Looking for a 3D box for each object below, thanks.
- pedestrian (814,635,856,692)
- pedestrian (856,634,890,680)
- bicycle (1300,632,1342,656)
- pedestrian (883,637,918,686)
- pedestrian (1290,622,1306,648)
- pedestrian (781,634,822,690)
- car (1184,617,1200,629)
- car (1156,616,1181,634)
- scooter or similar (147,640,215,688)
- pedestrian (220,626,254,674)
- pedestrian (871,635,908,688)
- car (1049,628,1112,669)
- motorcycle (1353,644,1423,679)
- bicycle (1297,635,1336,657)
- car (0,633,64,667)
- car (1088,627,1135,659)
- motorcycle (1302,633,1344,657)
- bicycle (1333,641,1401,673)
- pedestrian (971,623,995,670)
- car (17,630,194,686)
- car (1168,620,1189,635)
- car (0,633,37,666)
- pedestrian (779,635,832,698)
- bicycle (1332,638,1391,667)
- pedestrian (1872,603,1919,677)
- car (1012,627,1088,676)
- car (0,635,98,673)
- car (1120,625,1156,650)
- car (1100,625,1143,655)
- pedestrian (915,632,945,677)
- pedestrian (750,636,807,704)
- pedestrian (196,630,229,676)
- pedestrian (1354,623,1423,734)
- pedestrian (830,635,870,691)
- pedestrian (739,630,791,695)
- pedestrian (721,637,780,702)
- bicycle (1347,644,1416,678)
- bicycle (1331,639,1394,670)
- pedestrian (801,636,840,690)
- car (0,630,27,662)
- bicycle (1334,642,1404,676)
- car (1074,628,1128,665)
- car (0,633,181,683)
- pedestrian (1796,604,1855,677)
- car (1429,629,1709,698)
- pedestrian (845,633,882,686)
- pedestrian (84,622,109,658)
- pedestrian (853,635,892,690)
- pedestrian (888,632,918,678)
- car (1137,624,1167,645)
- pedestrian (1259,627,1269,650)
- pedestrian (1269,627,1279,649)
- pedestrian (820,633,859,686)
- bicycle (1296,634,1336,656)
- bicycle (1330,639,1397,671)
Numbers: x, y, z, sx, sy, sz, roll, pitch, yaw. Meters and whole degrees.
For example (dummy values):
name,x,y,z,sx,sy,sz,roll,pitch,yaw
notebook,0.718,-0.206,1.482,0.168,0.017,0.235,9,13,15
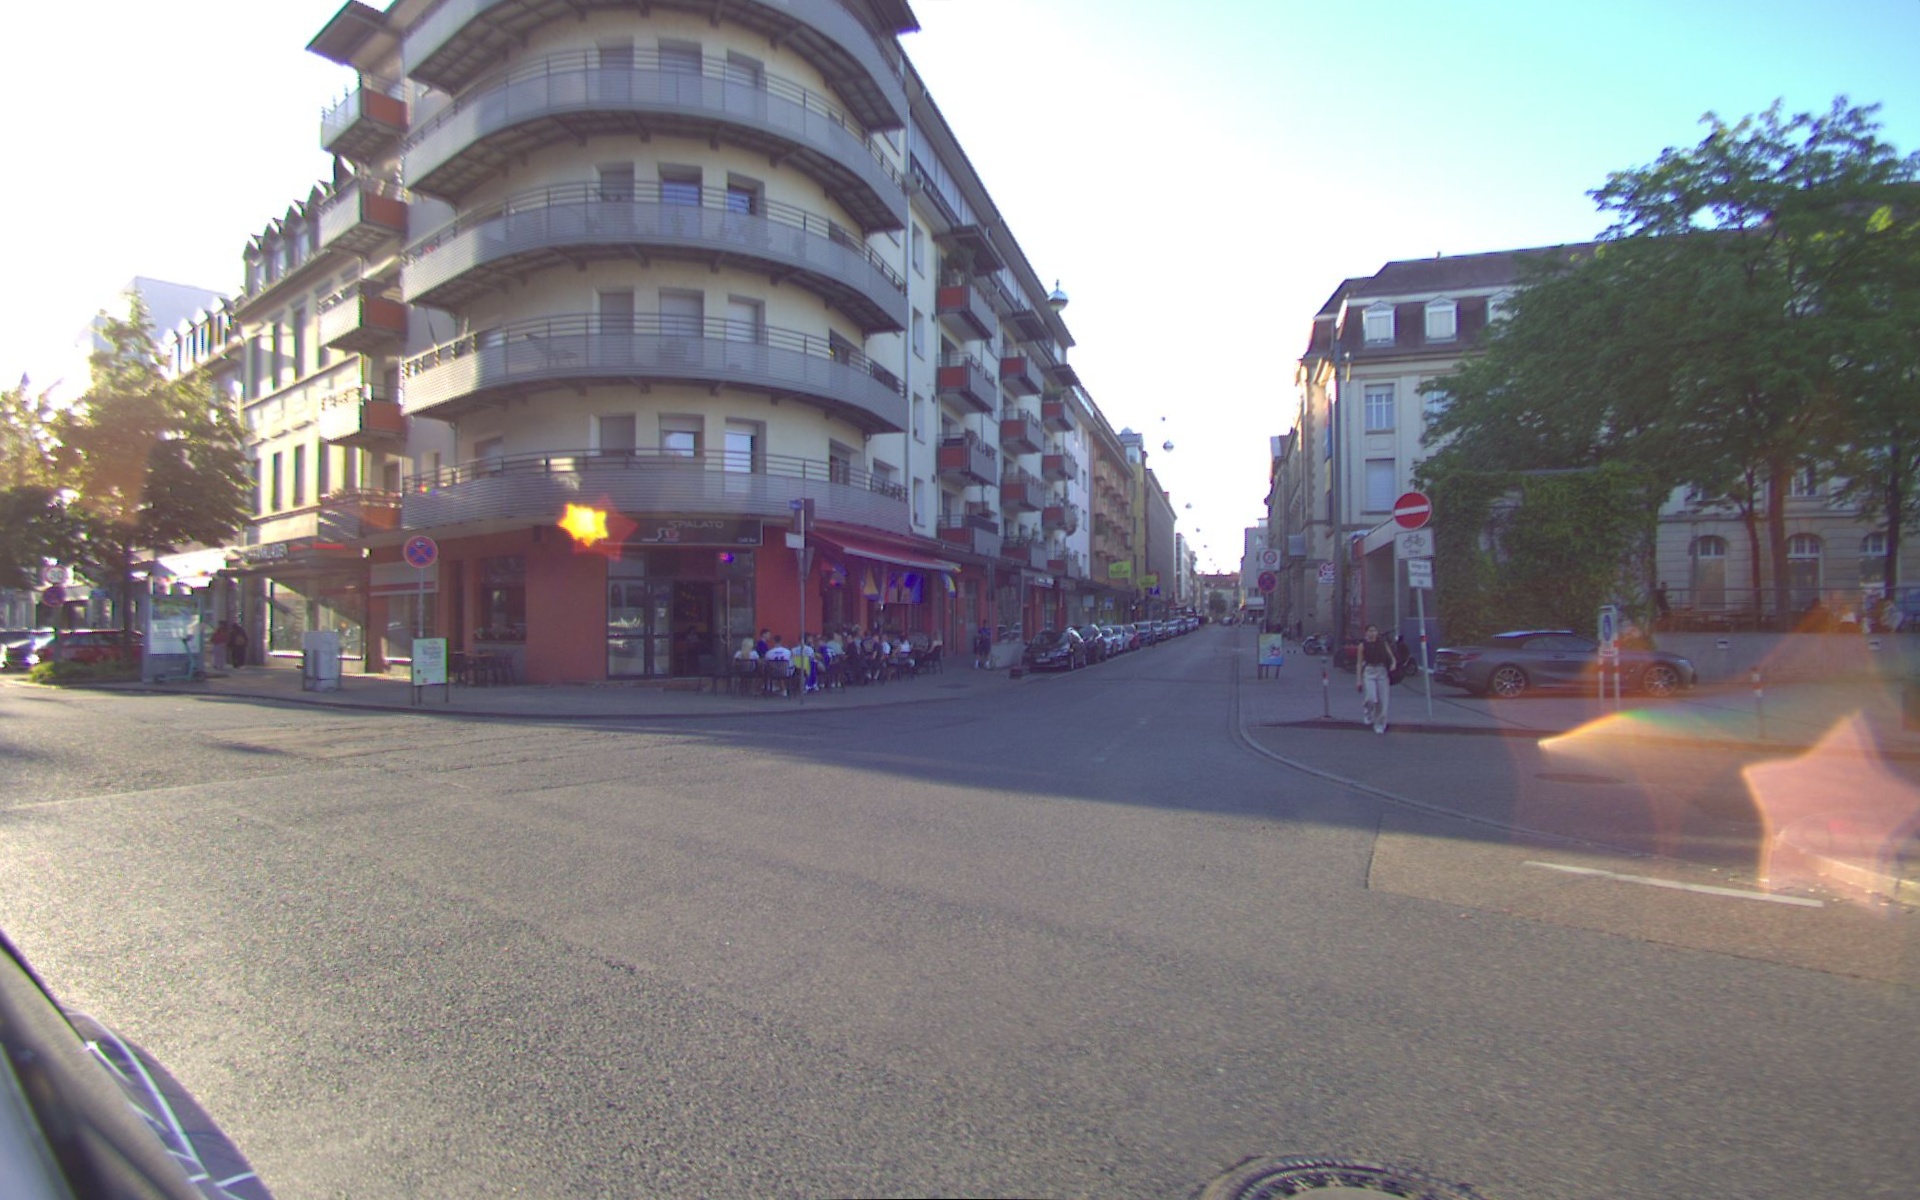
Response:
name,x,y,z,sx,sy,sz,roll,pitch,yaw
pedestrian,-2.861,1.446,23.148,0.699,1.256,0.615,0,-1,30
pedestrian,-2.408,1.576,27.956,0.698,1.234,0.616,0,-1,27
bicycle,17.026,2.088,47.725,1.792,1.087,0.507,-2,-2,22
pedestrian,-1.585,1.623,26.855,0.698,1.234,0.616,0,-1,27
pedestrian,20.991,2.180,62.850,0.837,1.610,0.729,-2,-2,28
pedestrian,-3.703,1.432,23.615,0.699,1.256,0.615,0,-1,30
car,33.066,3.255,144.285,1.953,1.608,3.978,-1,-2,16
car,19.561,2.368,94.702,1.953,1.608,3.978,-1,-2,16
scooter or similar,-21.205,1.732,27.563,0.525,1.235,1.385,-2,-1,36
pedestrian,-25.537,1.754,35.736,0.875,1.620,0.764,0,0,40
pedestrian,-1.777,1.551,25.555,0.699,1.297,0.615,0,-1,30
car,5.040,1.968,42.029,1.953,1.608,3.978,-1,-2,16
motorcycle,11.741,1.669,27.774,1.774,0.887,0.512,-1,-2,-14
bicycle,17.762,2.289,50.401,1.793,1.016,0.507,-2,-2,24
car,-43.039,2.282,45.636,1.803,1.455,3.704,-2,-1,37
car,8.083,2.240,53.684,1.953,1.608,3.978,-1,-2,16
motorcycle,16.857,2.088,47.003,1.790,1.087,0.507,-2,-2,19
bicycle,12.200,1.708,30.374,1.784,0.930,0.509,-2,-2,9
pedestrian,0.754,1.496,32.681,0.615,1.480,0.698,1,-1,14
car,-27.130,1.787,32.228,1.882,1.548,4.032,-2,-1,39
car,24.181,3.002,111.754,1.953,1.608,3.978,-1,-2,16
car,-46.251,2.372,47.940,1.714,1.513,3.522,-2,-1,38
pedestrian,-3.247,1.386,21.289,0.827,1.256,0.715,0,-1,34
bicycle,13.426,1.752,33.890,0.502,0.930,1.808,0,-2,-37
pedestrian,20.619,0.872,22.202,0.695,1.598,0.618,0,-1,17
car,3.281,1.790,36.112,1.953,1.608,3.978,-1,-2,16
car,-38.860,2.244,42.270,1.881,1.414,4.068,-2,-1,37
car,12.068,2.512,68.360,1.953,1.608,3.978,-1,-2,16
car,9.304,2.267,58.050,1.953,1.608,3.978,-1,-2,16
pedestrian,-0.886,1.611,29.994,0.696,1.297,0.618,0,-1,18
pedestrian,-3.603,1.376,20.107,0.746,1.283,0.820,0,-1,31
pedestrian,-25.983,1.835,35.168,0.875,1.539,0.727,0,0,40
pedestrian,6.301,1.140,14.921,0.760,1.579,0.896,-1,-2,14
pedestrian,-2.579,1.468,23.812,0.699,1.256,0.615,0,-1,30
pedestrian,-4.223,1.335,21.944,0.827,1.358,0.740,0,-1,34
pedestrian,-4.210,1.382,20.353,0.765,1.251,0.891,0,-1,31
bicycle,11.969,1.720,28.741,1.775,0.887,0.512,-1,-2,-11
bicycle,12.631,1.714,31.827,1.790,0.930,0.507,-2,-2,19
pedestrian,-3.339,1.498,24.256,0.699,1.256,0.615,0,-1,30
car,-52.005,2.479,52.997,1.887,1.608,4.363,-3,-1,38
bicycle,11.974,1.720,29.642,1.782,0.930,0.510,-2,-2,6
car,6.657,2.144,47.408,1.953,1.608,3.978,-1,-2,16
car,-29.181,1.891,33.934,1.819,1.418,4.527,-2,-1,38
pedestrian,19.275,0.890,22.552,0.763,1.598,0.686,0,-1,17
car,12.401,1.307,20.932,4.477,1.328,1.994,-1,-2,9
pedestrian,-2.505,1.542,26.312,0.699,1.343,0.615,0,-1,30
pedestrian,-42.395,1.948,49.684,0.875,1.734,0.764,0,0,40
pedestrian,-2.137,1.503,24.683,0.699,1.297,0.615,0,-1,30
pedestrian,-1.682,1.616,29.927,0.696,1.297,0.618,0,-1,18
car,15.002,2.662,78.972,1.953,1.608,3.978,-1,-2,16
pedestrian,19.200,2.425,64.008,0.536,1.407,0.383,-1,-2,13
pedestrian,19.751,2.401,63.637,0.513,1.407,0.397,-1,-2,12
pedestrian,-3.009,1.470,25.281,0.699,1.297,0.650,0,-1,30
bicycle,17.555,2.232,49.882,1.793,1.016,0.507,-2,-2,24
bicycle,12.334,1.676,30.981,1.784,0.930,0.509,-2,-2,9
